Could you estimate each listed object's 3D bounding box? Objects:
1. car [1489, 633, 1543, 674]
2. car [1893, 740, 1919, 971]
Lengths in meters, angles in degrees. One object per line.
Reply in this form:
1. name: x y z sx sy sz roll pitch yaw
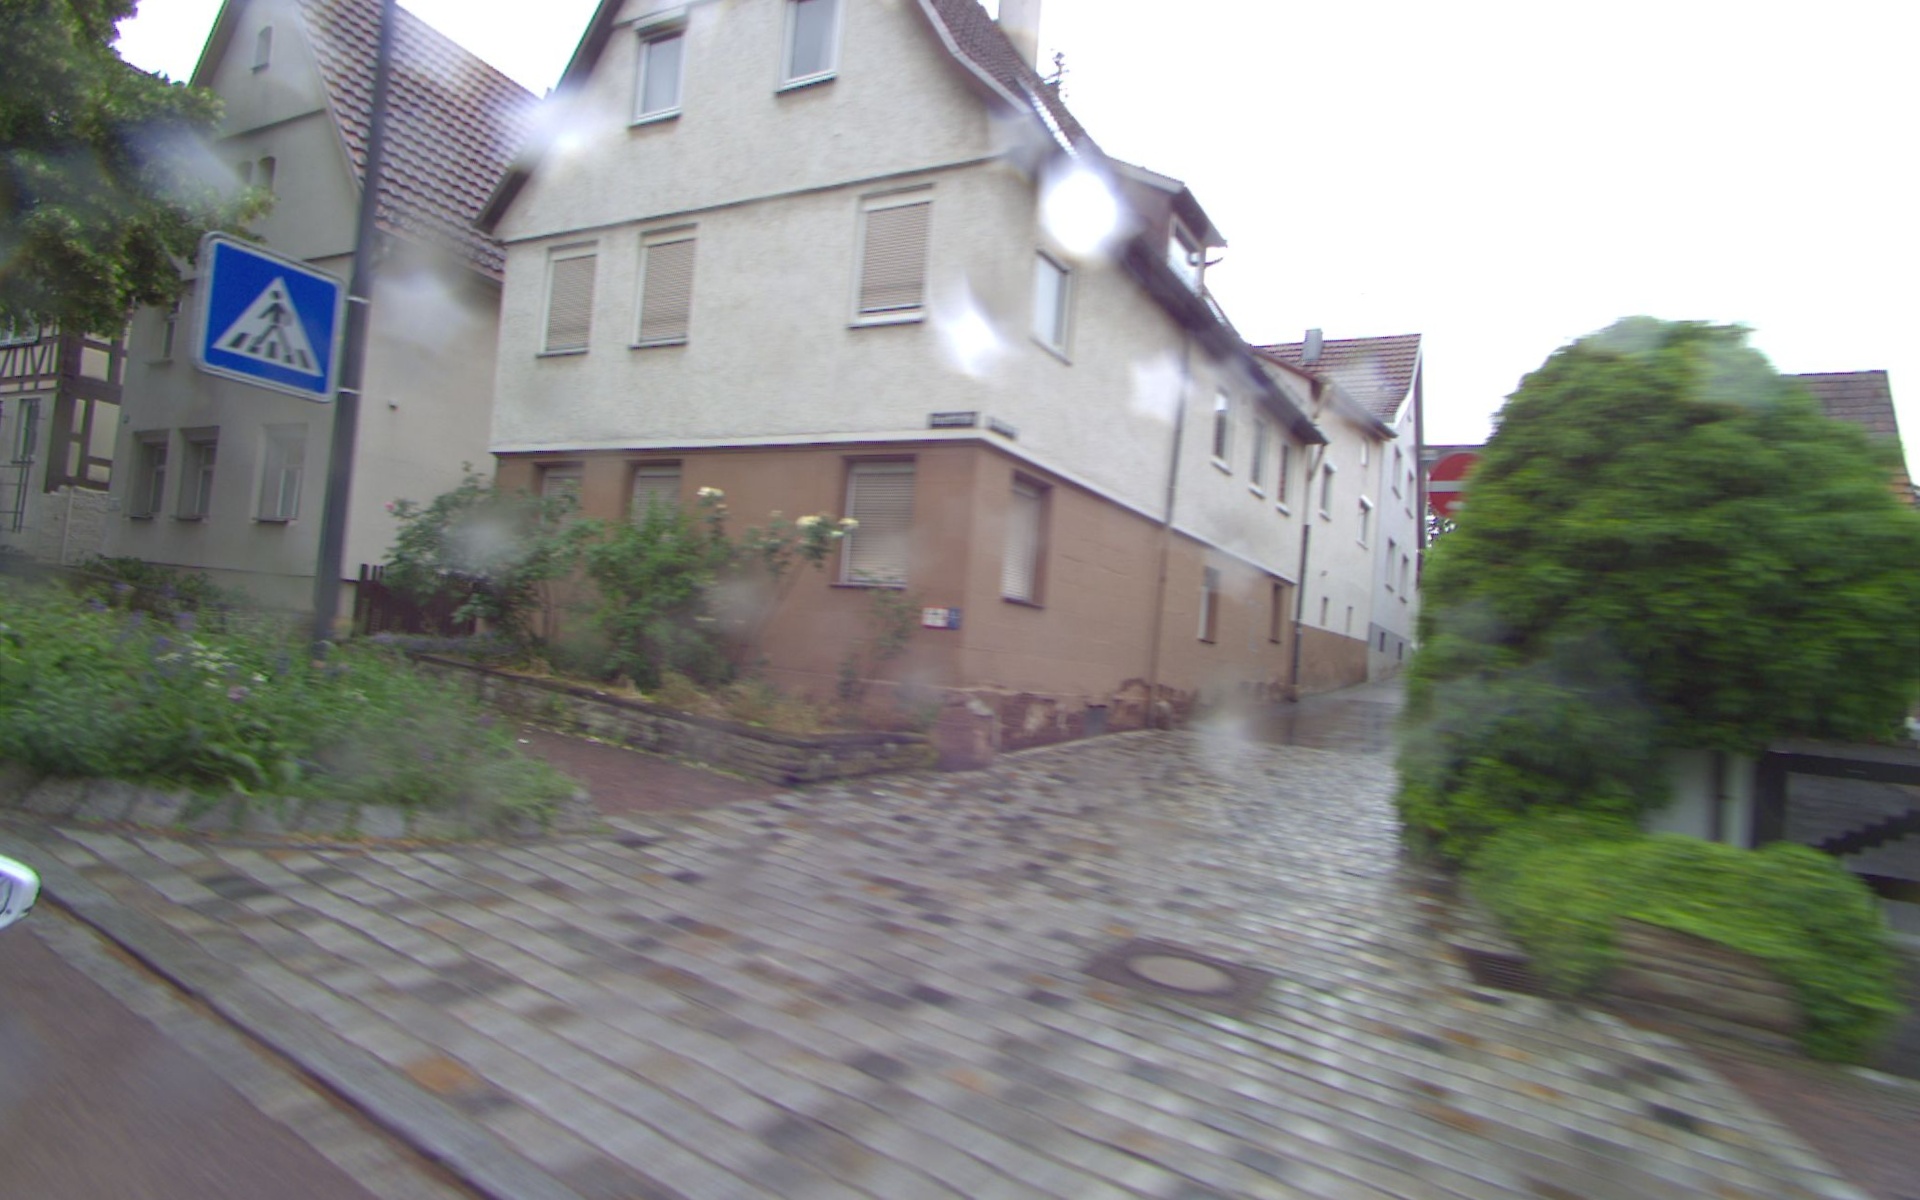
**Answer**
1. car: 25.210 2.422 45.587 1.688 1.657 3.650 4 -1 35
2. car: 6.308 1.631 4.926 1.602 1.448 3.371 6 -1 28
